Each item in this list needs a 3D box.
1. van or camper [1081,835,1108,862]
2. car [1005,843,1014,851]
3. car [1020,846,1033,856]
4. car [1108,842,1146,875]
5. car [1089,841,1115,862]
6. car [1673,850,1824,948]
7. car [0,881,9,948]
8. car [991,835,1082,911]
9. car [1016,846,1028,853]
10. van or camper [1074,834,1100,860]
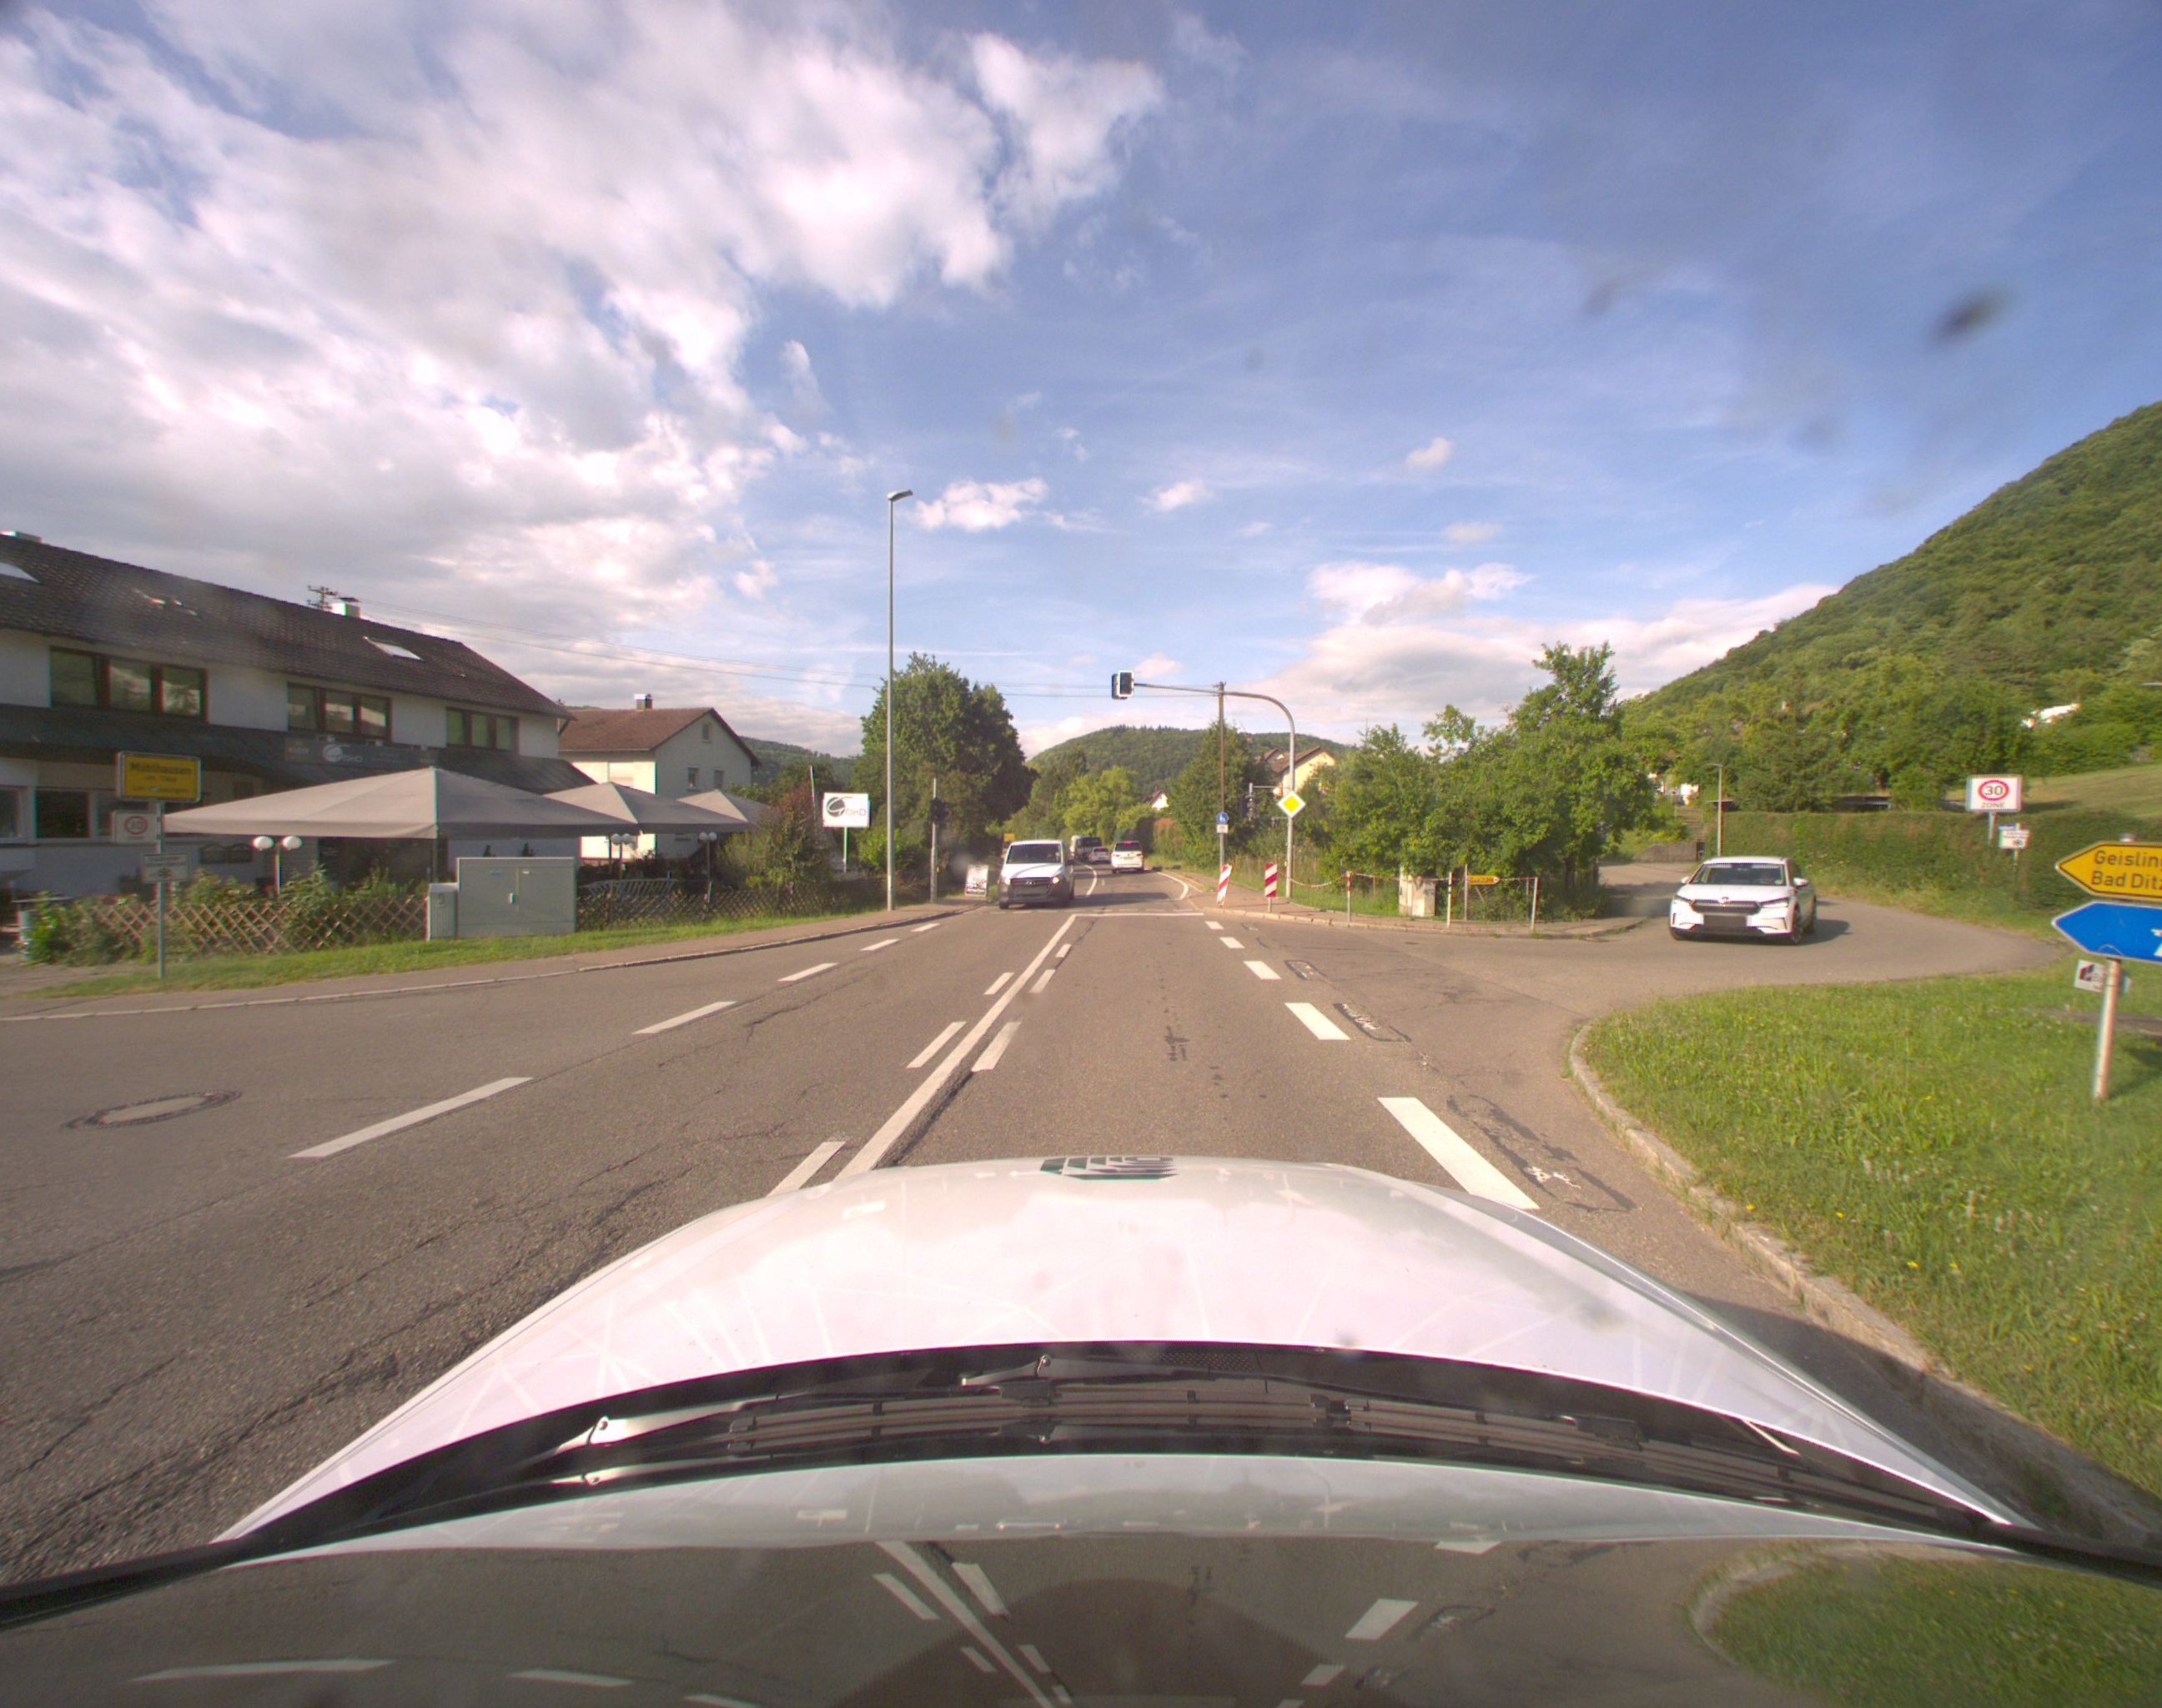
[{"bbox_3d":[1.293,-0.547,78.384,2.175,2.385,5.363,-1,1,-3],"label":"van or camper"},{"bbox_3d":[-15.853,-1.494,180.221,1.772,1.783,3.986,-2,0,-10],"label":"car"},{"bbox_3d":[-9.955,-0.493,149.708,1.942,1.684,3.987,-2,0,-10],"label":"car"},{"bbox_3d":[2.761,0.220,50.031,1.987,1.876,4.870,1,1,0],"label":"car"},{"bbox_3d":[1.772,-0.234,69.704,1.987,1.684,3.999,-1,1,-1],"label":"car"},{"bbox_3d":[13.496,0.765,16.362,4.598,1.610,1.851,-1,2,-44],"label":"car"},{"bbox_3d":[-23.637,1.305,14.808,1.982,1.389,4.587,-2,0,8],"label":"car"},{"bbox_3d":[-1.146,0.445,23.800,1.985,1.903,5.259,-2,1,4],"label":"car"},{"bbox_3d":[-11.607,-0.849,158.810,1.942,1.424,3.987,-1,1,-10],"label":"car"},{"bbox_3d":[0.638,-0.819,93.058,2.412,2.904,6.119,-1,1,-6],"label":"van or camper"}]
